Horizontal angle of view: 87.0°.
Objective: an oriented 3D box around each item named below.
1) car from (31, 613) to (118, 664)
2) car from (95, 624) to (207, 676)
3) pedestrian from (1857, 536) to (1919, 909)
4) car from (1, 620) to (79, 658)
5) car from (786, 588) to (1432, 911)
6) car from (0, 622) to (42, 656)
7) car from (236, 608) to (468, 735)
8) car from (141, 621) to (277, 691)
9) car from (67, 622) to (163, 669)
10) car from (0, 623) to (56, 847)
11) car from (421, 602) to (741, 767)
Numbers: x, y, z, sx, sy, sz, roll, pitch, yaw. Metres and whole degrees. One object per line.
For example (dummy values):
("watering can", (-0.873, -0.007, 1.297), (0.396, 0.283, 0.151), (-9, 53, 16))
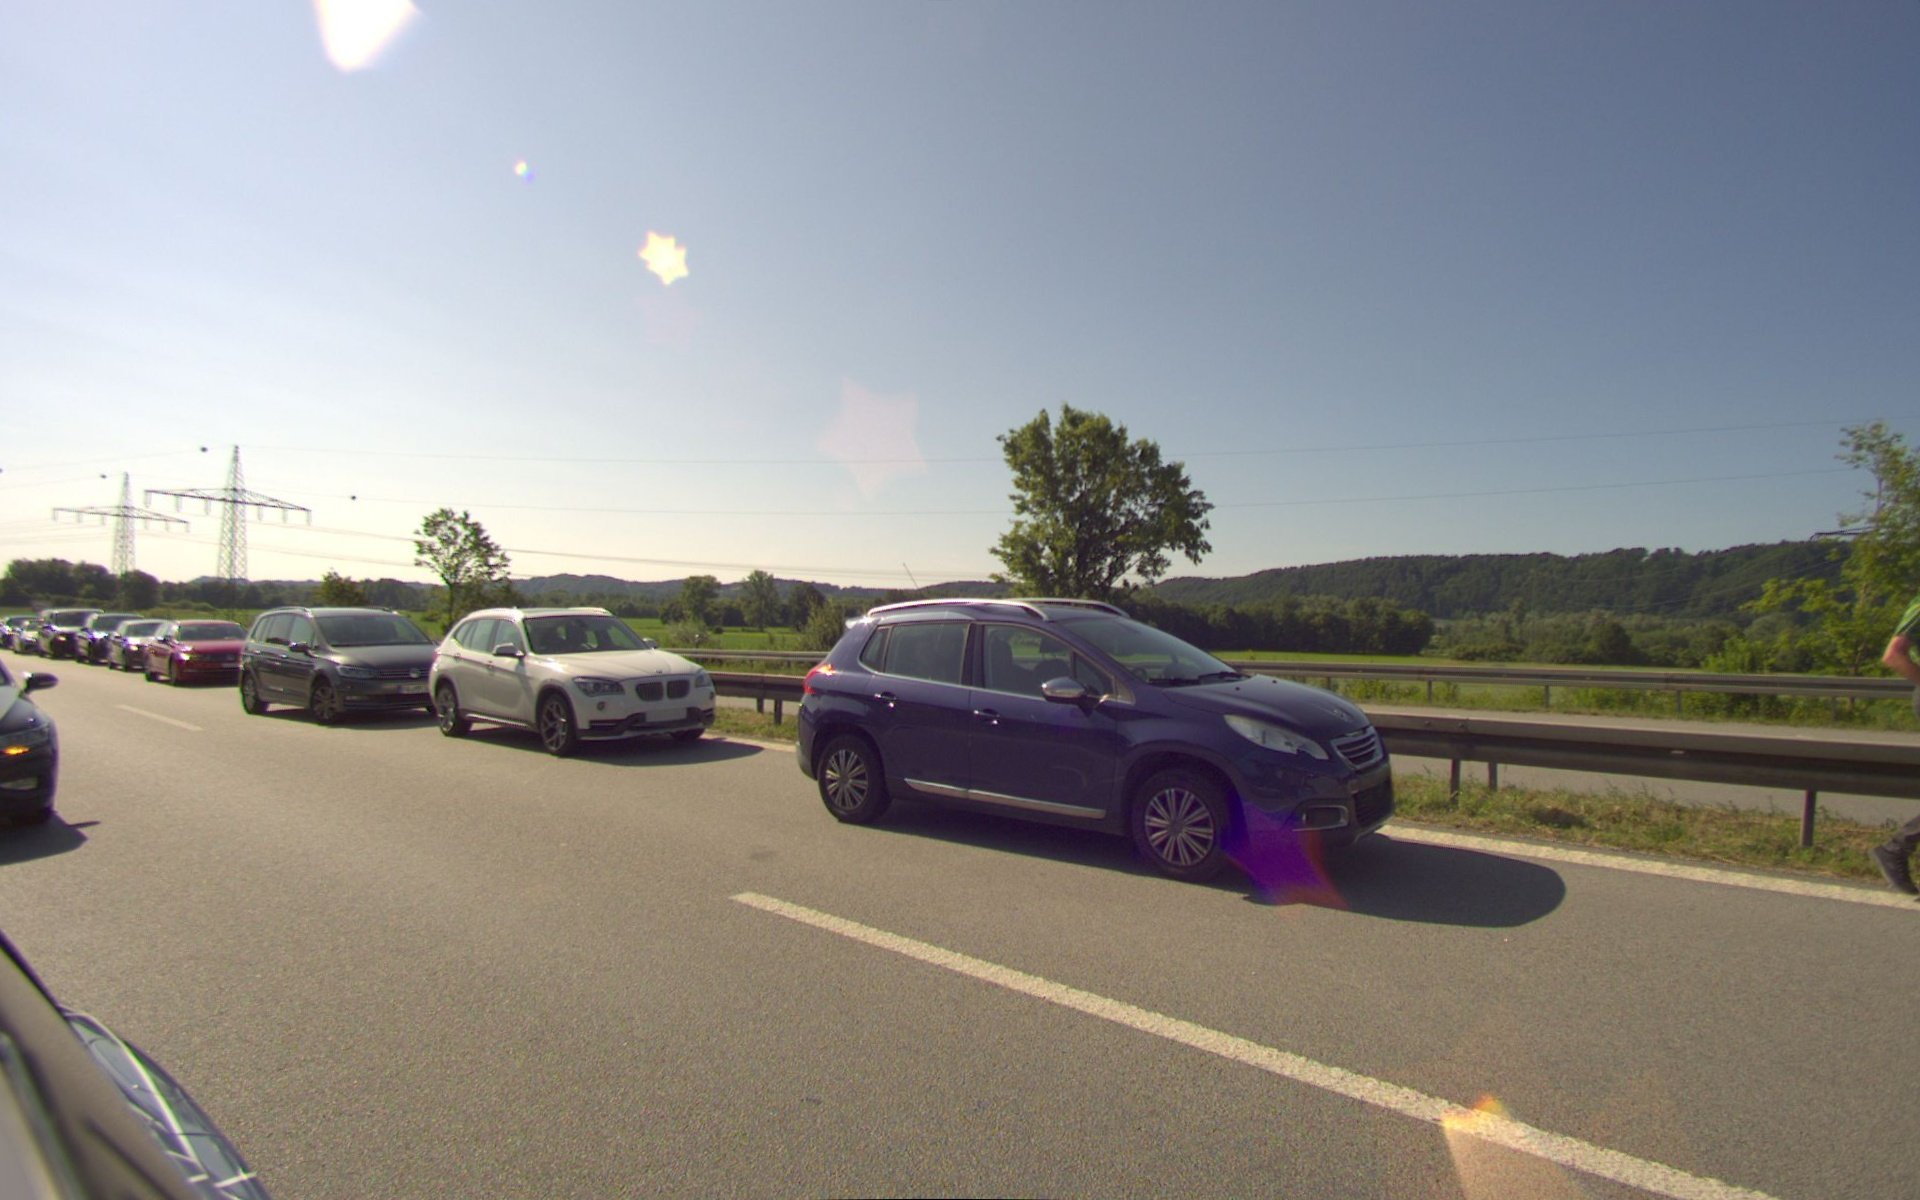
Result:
("car", (-33.440, 1.437, 38.206), (4.197, 1.801, 1.877), (-1, -2, 41))
("car", (-23.724, 1.411, 29.632), (3.998, 1.409, 1.870), (-1, -2, 41))
("pedestrian", (4.910, 0.581, 4.899), (0.814, 1.764, 0.663), (-2, -3, 42))
("car", (-38.941, 1.622, 42.801), (3.998, 1.542, 1.973), (-1, -2, 41))
("car", (0.811, 0.739, 6.737), (3.943, 1.546, 1.671), (-1, 0, 38))
("car", (-45.969, 1.867, 48.870), (3.998, 1.542, 1.973), (-1, -2, 41))
("car", (-9.172, 0.960, 15.136), (4.115, 1.628, 1.796), (-1, -1, 41))
("car", (-17.511, 1.246, 23.521), (4.117, 1.470, 1.795), (-1, -3, 43))
("car", (-28.205, 1.487, 33.756), (3.999, 1.466, 1.869), (-1, -2, 42))
("car", (-8.111, 0.902, 7.467), (4.324, 1.424, 1.694), (-1, -1, 42))
("car", (-4.547, 0.864, 11.854), (4.162, 1.586, 1.808), (-1, -2, 42))
